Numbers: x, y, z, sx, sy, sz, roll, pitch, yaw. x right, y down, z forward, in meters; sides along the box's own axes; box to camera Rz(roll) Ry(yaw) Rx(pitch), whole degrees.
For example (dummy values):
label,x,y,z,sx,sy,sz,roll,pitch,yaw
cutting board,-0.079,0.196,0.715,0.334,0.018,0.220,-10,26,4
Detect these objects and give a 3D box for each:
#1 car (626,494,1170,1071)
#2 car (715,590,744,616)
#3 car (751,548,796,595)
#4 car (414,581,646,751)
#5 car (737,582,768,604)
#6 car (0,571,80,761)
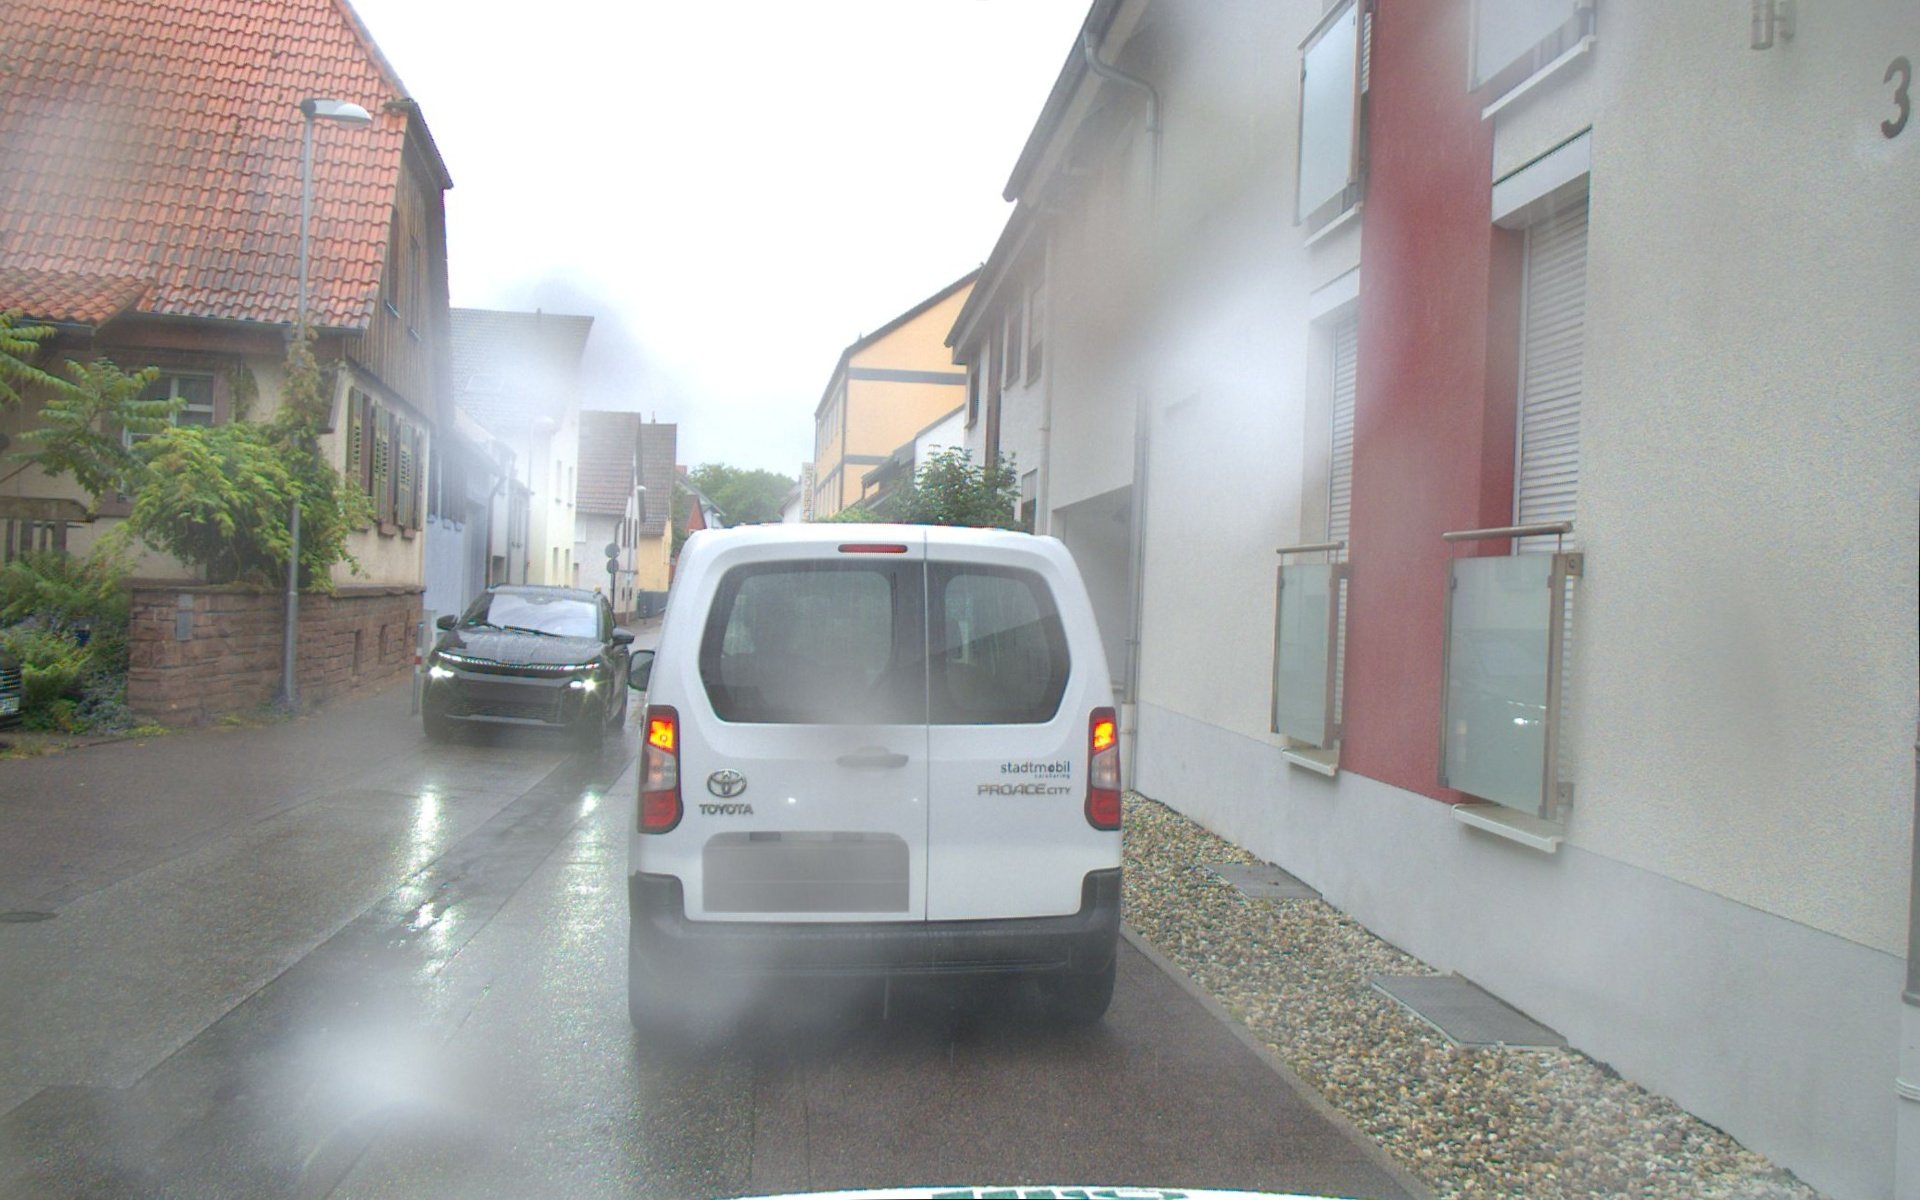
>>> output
label,x,y,z,sx,sy,sz,roll,pitch,yaw
car,-0.485,0.591,7.322,1.742,1.811,3.991,1,0,-9
car,-13.515,0.173,96.834,1.532,1.503,3.990,1,0,-10
car,-8.564,-1.287,76.132,1.955,2.049,3.995,1,0,-6
car,-4.567,0.644,18.173,1.797,1.583,4.234,2,0,-6
car,-13.507,-0.445,107.549,1.747,1.419,3.990,1,0,-10
car,-9.391,0.308,12.952,3.908,1.450,1.735,7,-1,-1
